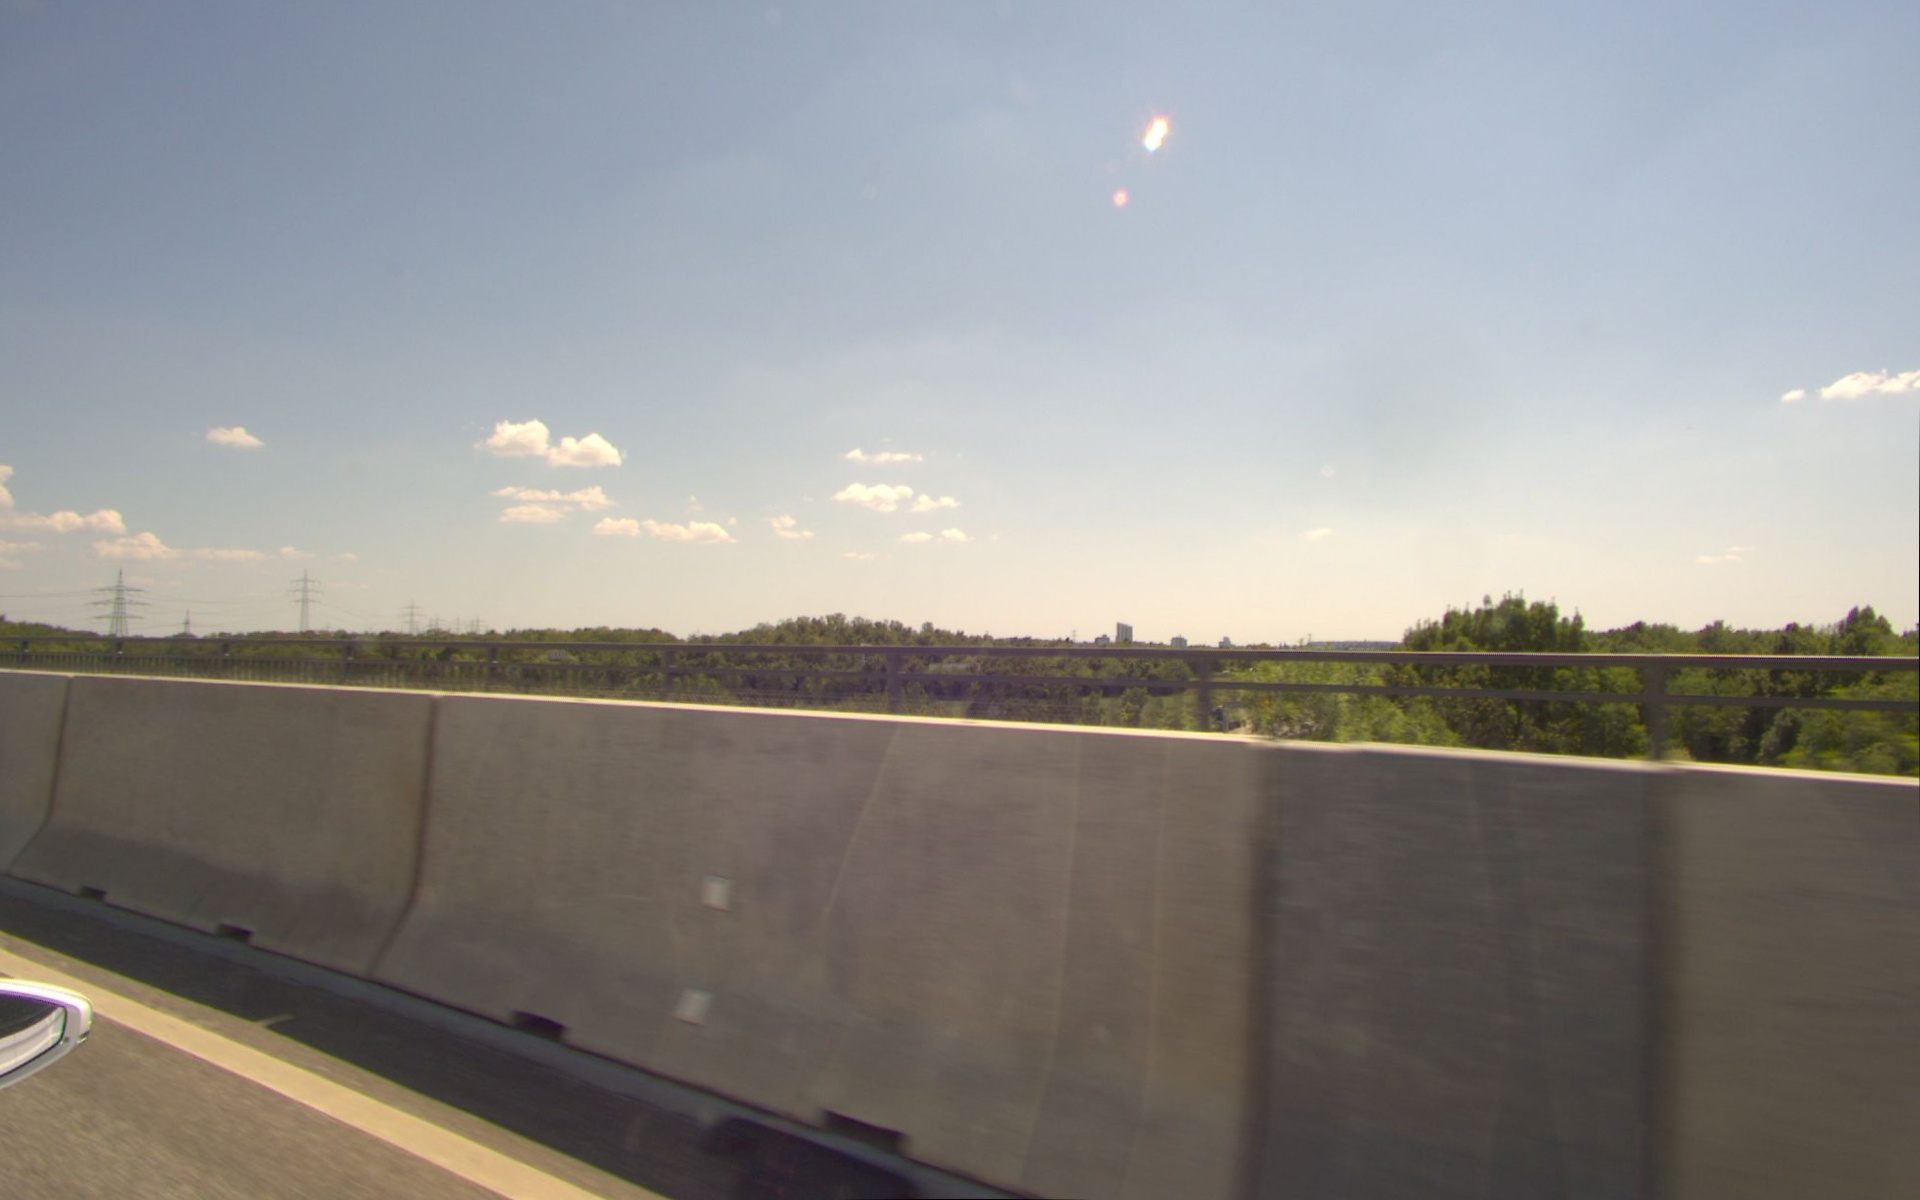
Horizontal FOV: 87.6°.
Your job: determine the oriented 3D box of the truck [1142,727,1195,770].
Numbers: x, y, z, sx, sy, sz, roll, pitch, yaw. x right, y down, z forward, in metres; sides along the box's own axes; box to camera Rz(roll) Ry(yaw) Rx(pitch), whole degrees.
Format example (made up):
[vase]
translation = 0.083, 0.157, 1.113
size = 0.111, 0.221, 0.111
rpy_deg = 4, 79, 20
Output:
[truck]
translation = 21.737, 15.375, 104.115
size = 2.735, 4.087, 9.329
rpy_deg = -1, -7, 29
